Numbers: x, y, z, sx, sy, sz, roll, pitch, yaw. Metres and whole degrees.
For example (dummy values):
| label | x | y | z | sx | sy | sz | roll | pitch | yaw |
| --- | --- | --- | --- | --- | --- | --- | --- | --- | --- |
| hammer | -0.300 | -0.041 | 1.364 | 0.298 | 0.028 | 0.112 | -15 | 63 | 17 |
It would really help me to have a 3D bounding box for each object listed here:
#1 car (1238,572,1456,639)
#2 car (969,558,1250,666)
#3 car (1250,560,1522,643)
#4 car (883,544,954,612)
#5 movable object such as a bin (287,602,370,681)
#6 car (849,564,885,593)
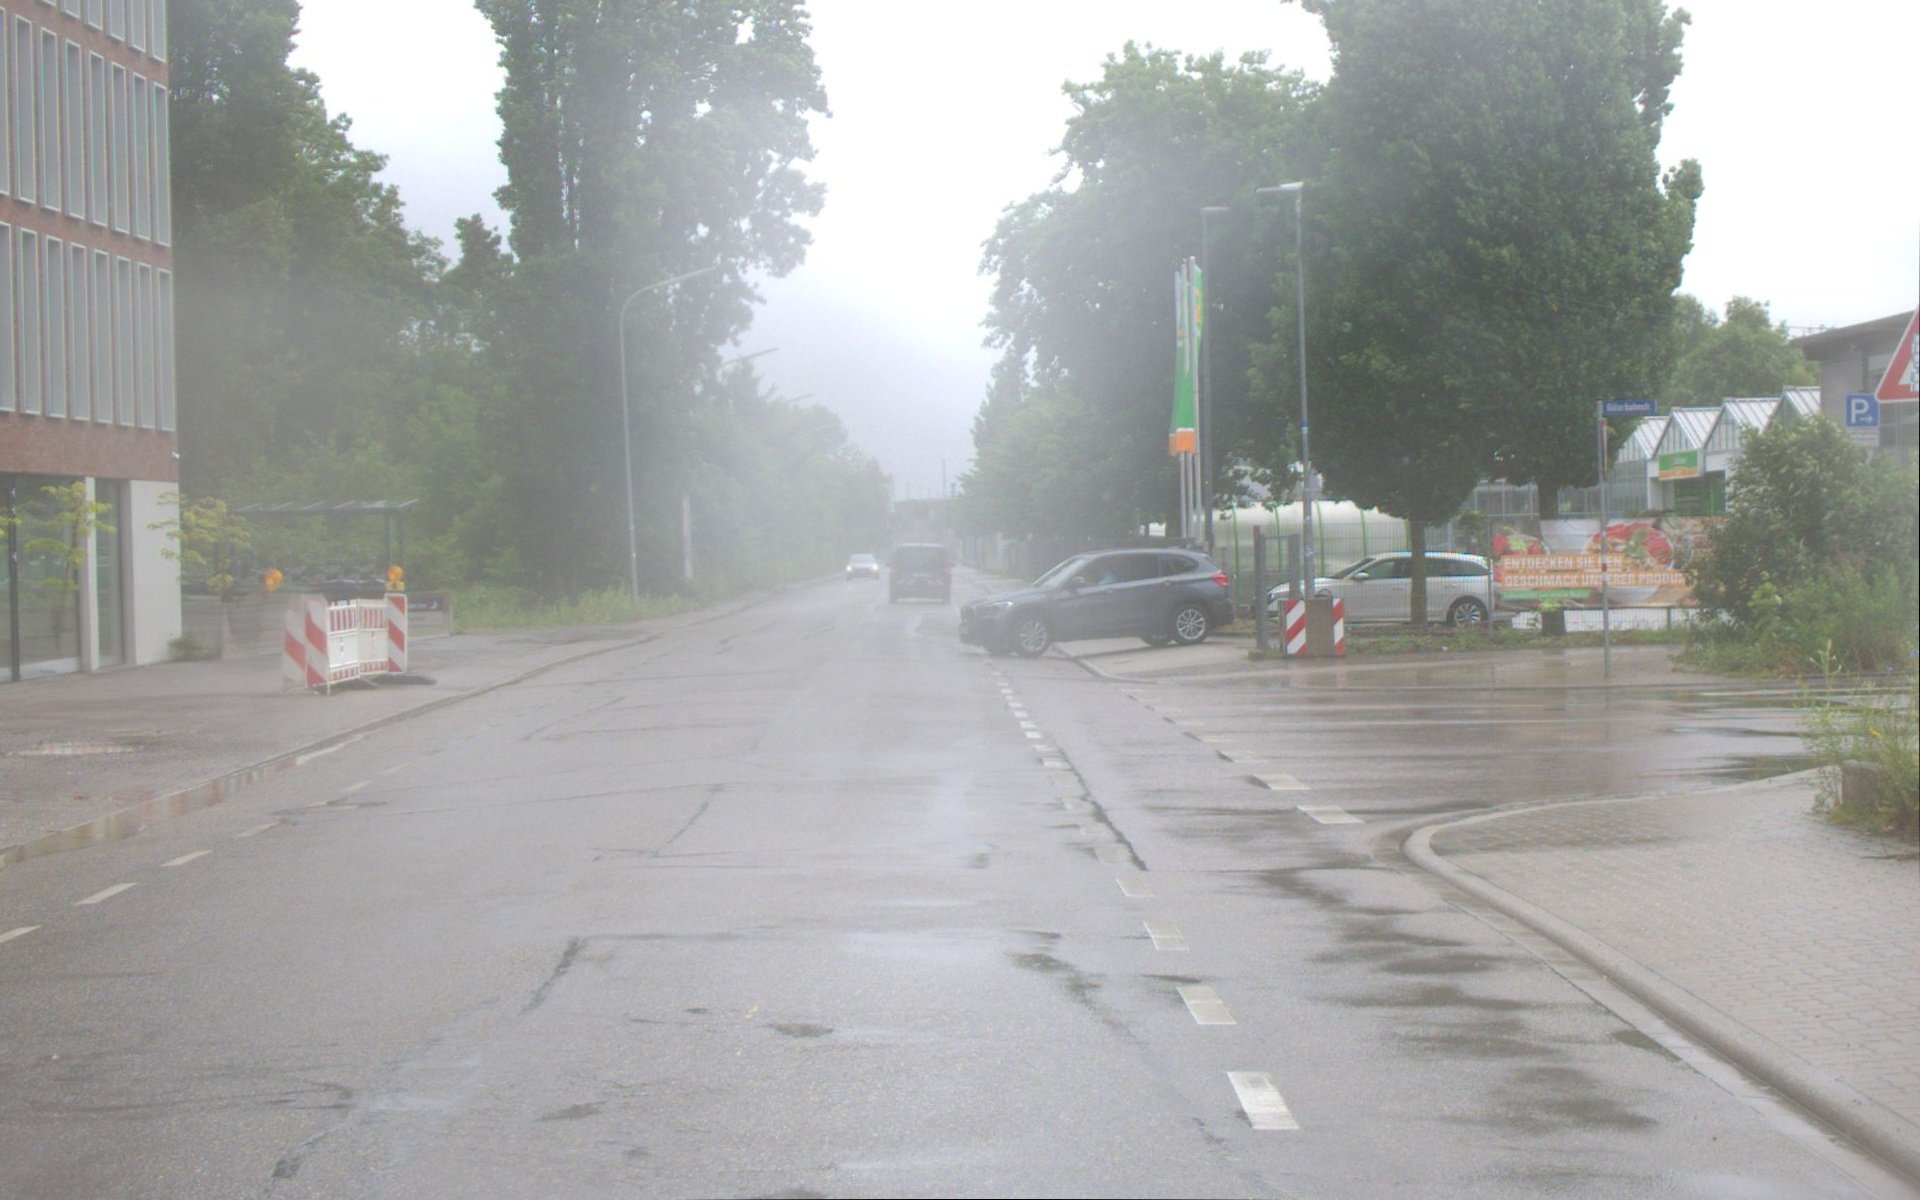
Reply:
| label | x | y | z | sx | sy | sz | roll | pitch | yaw |
| --- | --- | --- | --- | --- | --- | --- | --- | --- | --- |
| car | 7.382 | 0.099 | 65.792 | 3.938 | 1.252 | 1.619 | 0 | 0 | -2 |
| car | 2.381 | 0.188 | 55.169 | 4.135 | 1.563 | 1.765 | -2 | 0 | -13 |
| car | 7.758 | 0.019 | 62.932 | 4.703 | 1.457 | 1.890 | 0 | 0 | -2 |
| car | -1.254 | -0.642 | 101.870 | 1.993 | 1.904 | 4.201 | -2 | 0 | -1 |
| movable object such as a bin | -10.797 | 0.705 | 58.833 | 1.295 | 1.304 | 1.449 | -1 | 0 | -6 |
| car | -5.085 | -1.169 | 189.048 | 1.733 | 1.445 | 4.381 | -4 | 0 | 0 |
